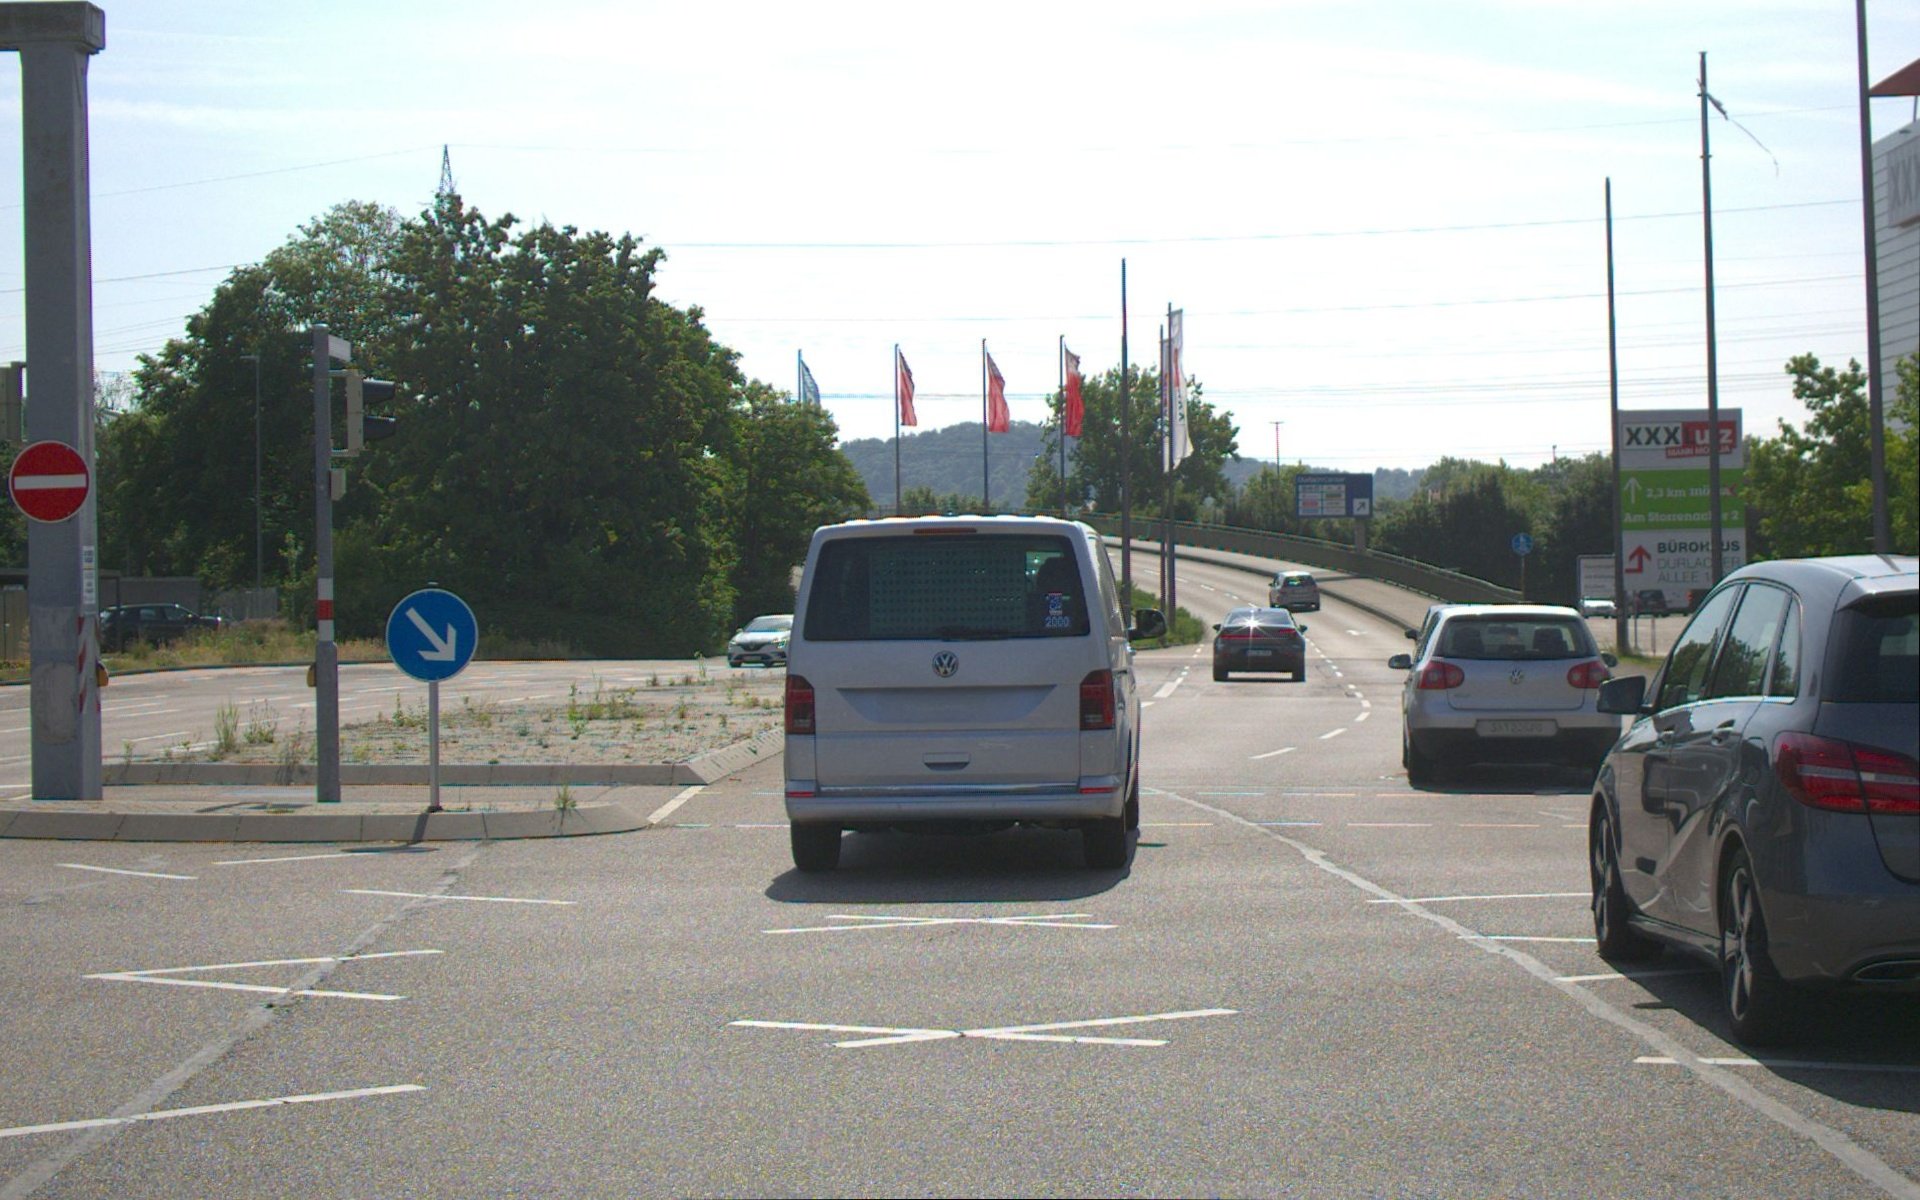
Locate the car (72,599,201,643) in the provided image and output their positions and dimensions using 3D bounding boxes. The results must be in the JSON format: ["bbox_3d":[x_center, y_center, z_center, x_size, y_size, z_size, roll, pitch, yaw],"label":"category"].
[{"bbox_3d":[-27.739,0.710,115.773,4.098,1.415,1.729,0,-1,-19],"label":"car"}]

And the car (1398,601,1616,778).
[{"bbox_3d":[4.593,0.748,29.256,1.667,1.409,3.681,0,-1,7],"label":"car"}]

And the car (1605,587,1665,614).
[{"bbox_3d":[37.352,0.023,190.276,1.993,1.415,4.001,2,-1,-8],"label":"car"}]

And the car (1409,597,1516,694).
[{"bbox_3d":[8.086,0.708,55.516,1.531,1.475,3.595,1,0,6],"label":"car"}]

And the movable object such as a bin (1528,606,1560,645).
[{"bbox_3d":[17.020,0.739,100.224,0.810,1.109,1.182,0,0,5],"label":"movable object such as a bin"}]

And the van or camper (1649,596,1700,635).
[{"bbox_3d":[41.073,0.890,197.709,2.098,2.171,5.437,2,-1,4],"label":"van or camper"}]

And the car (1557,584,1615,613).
[{"bbox_3d":[34.634,-0.073,190.270,1.883,1.514,4.001,2,-1,-9],"label":"car"}]

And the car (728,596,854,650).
[{"bbox_3d":[-4.707,0.655,96.362,1.784,1.455,4.328,-1,-1,23],"label":"car"}]

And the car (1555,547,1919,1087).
[{"bbox_3d":[3.243,0.615,11.839,1.774,1.534,4.137,0,0,2],"label":"car"}]

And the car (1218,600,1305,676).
[{"bbox_3d":[6.121,0.749,69.596,1.531,1.475,3.246,1,0,9],"label":"car"}]

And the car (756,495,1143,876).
[{"bbox_3d":[0.054,0.429,20.031,1.917,1.968,4.296,0,0,4],"label":"car"}]

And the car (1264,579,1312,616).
[{"bbox_3d":[13.189,-0.108,138.273,1.531,1.475,3.425,1,0,-1],"label":"car"}]
